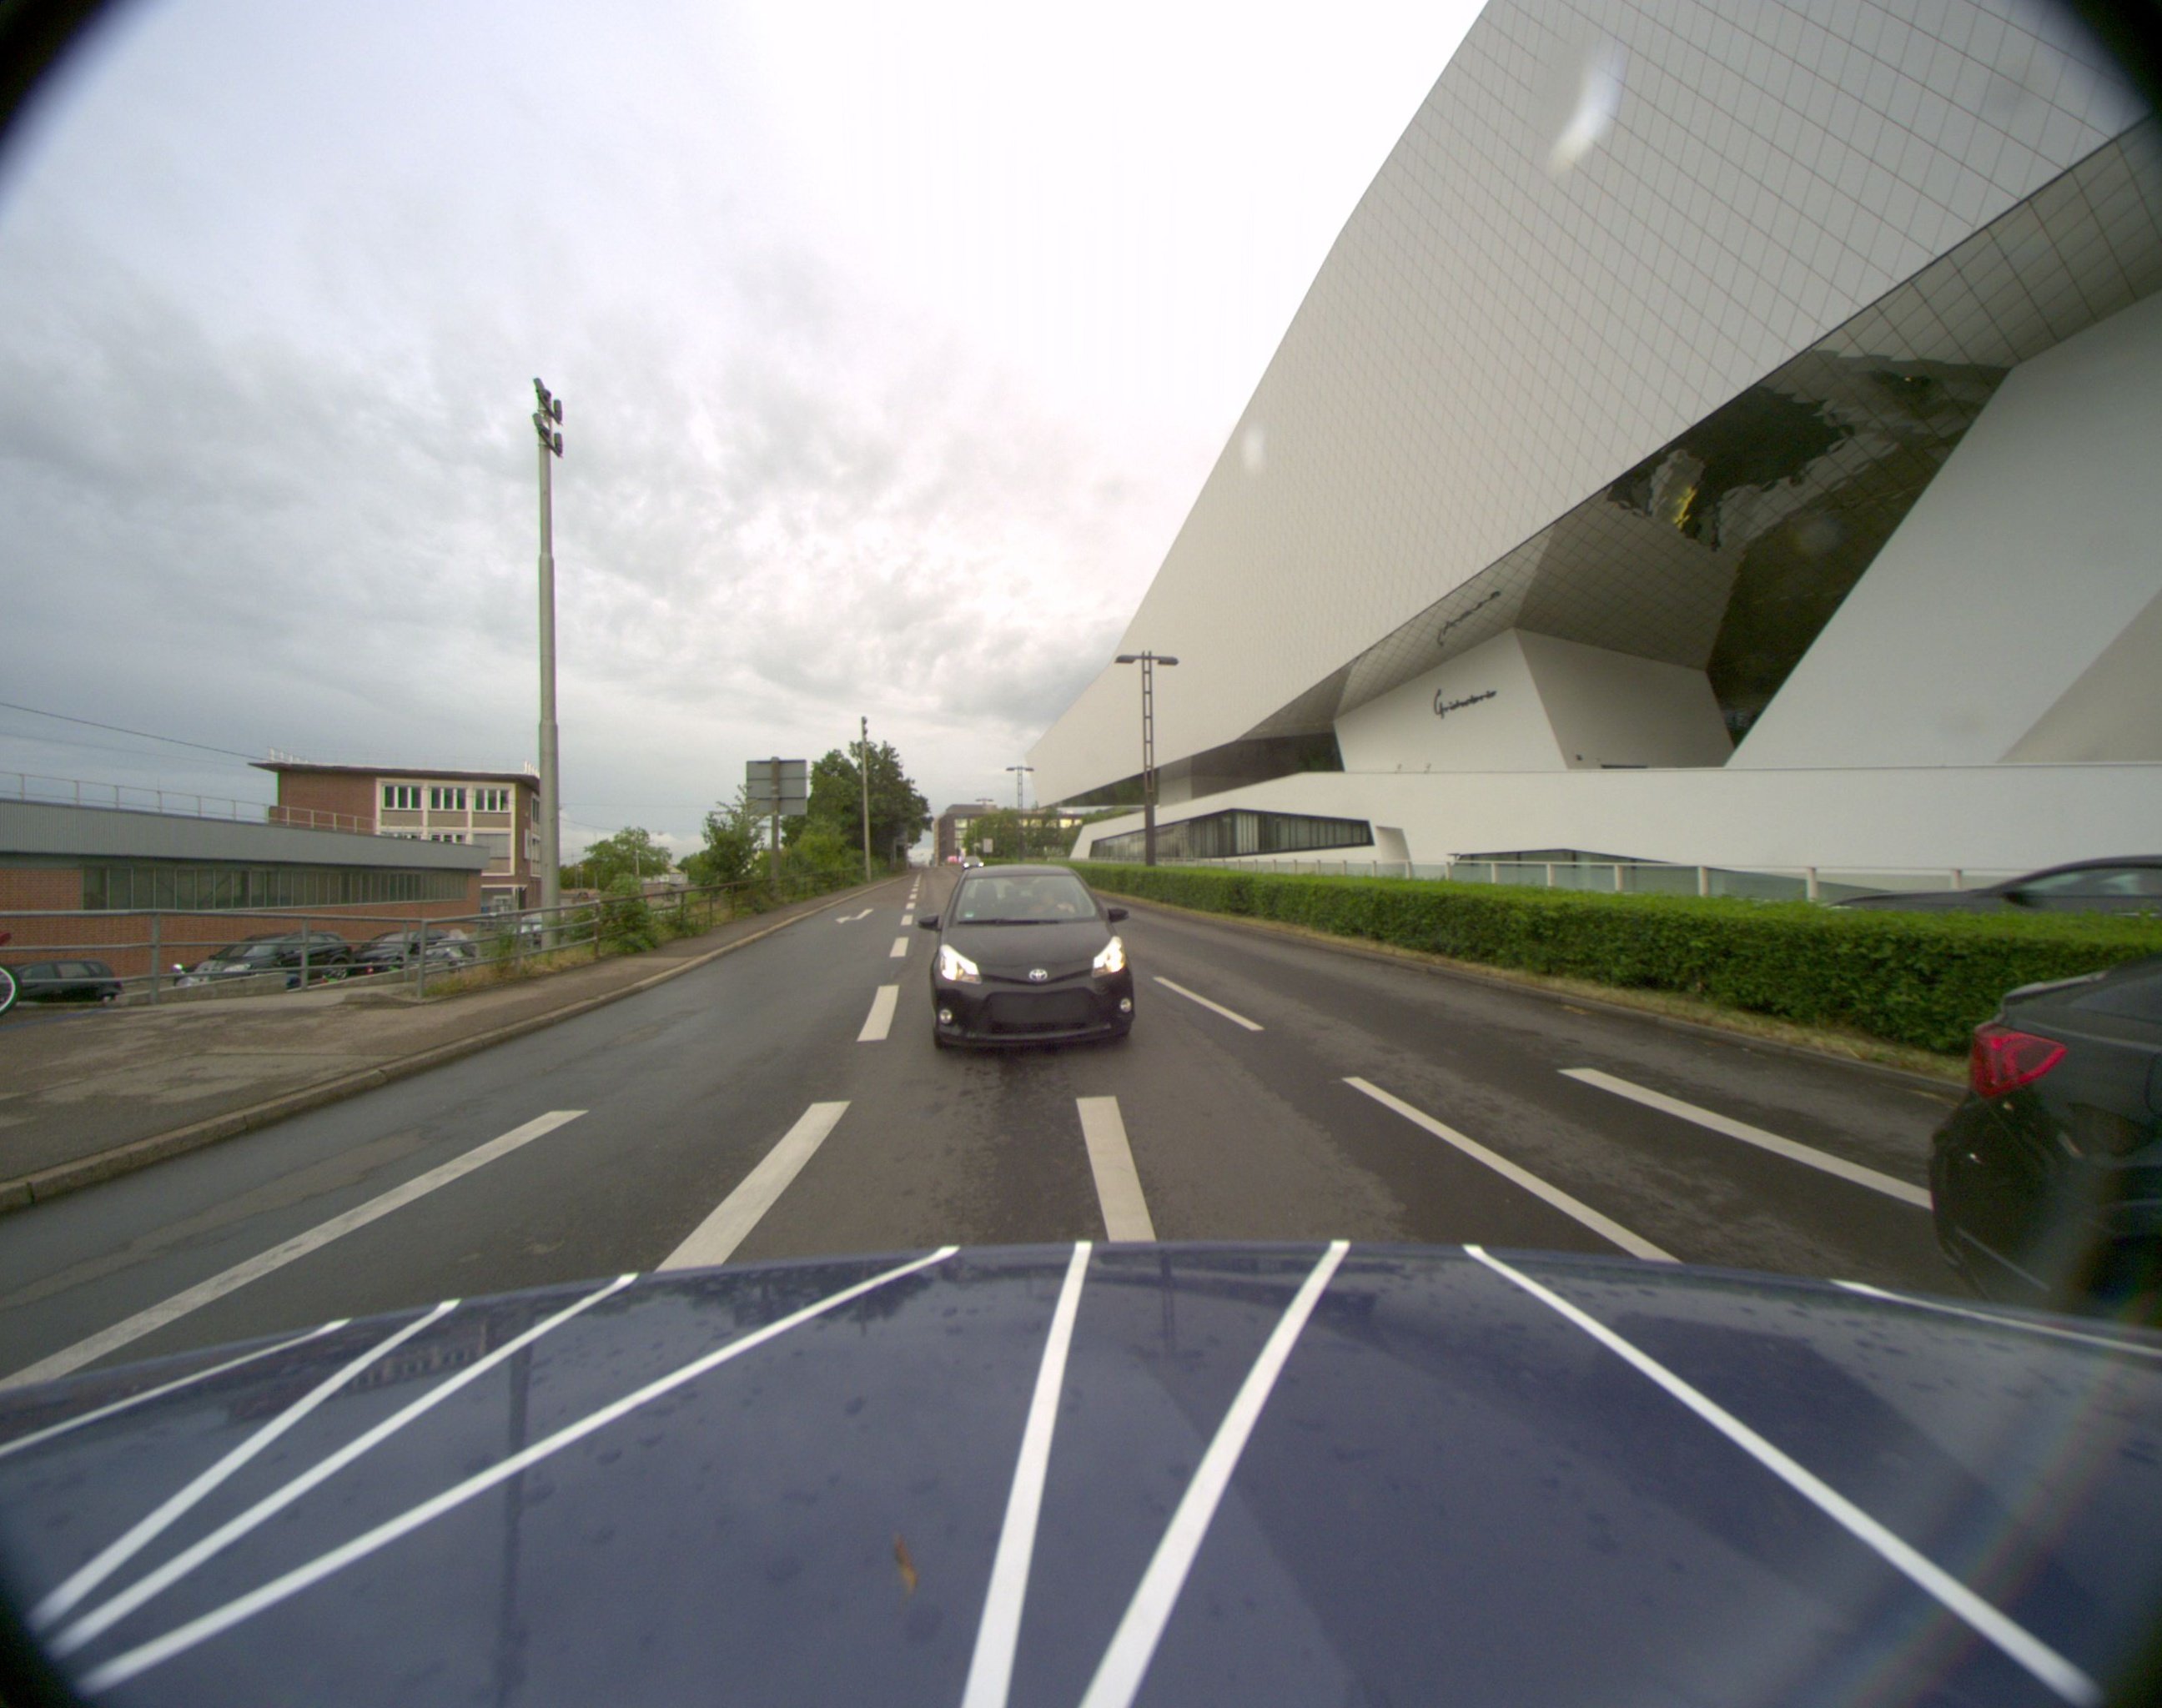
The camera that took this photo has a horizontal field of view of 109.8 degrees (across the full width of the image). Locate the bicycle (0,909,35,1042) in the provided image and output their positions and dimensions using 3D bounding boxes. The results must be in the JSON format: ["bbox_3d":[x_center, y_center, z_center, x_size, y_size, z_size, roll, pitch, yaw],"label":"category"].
[{"bbox_3d":[-10.412,1.094,6.570,1.547,1.148,0.450,0,2,-27],"label":"bicycle"}]

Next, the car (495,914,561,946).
[{"bbox_3d":[-30.084,4.123,41.453,1.735,1.380,3.995,-2,-1,-18],"label":"car"}]

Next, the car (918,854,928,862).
[{"bbox_3d":[-31.868,0.846,153.220,1.750,1.466,4.064,-2,1,-13],"label":"car"}]

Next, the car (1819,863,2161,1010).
[{"bbox_3d":[10.839,0.799,8.061,1.726,1.329,3.994,-1,0,-17],"label":"car"}]

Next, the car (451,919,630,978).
[{"bbox_3d":[-15.519,2.689,21.928,3.995,1.417,1.722,-2,-1,5],"label":"car"}]

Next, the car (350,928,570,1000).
[{"bbox_3d":[-14.887,2.616,18.340,3.995,1.417,1.722,-2,-1,5],"label":"car"}]

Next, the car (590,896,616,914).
[{"bbox_3d":[-42.041,4.436,66.892,1.723,1.417,3.991,-1,-1,-30],"label":"car"}]

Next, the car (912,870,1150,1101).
[{"bbox_3d":[-0.628,0.993,7.561,1.695,1.498,4.008,-2,1,-8],"label":"car"}]

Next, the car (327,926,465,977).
[{"bbox_3d":[-25.692,3.606,28.739,1.720,1.396,4.273,-2,-1,-7],"label":"car"}]

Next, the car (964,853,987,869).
[{"bbox_3d":[-10.033,0.685,72.155,1.819,1.430,4.297,-2,0,-12],"label":"car"}]

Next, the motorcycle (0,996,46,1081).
[{"bbox_3d":[-13.313,2.222,8.746,1.618,0.916,0.420,-3,1,-24],"label":"motorcycle"}]

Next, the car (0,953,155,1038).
[{"bbox_3d":[-23.260,3.119,16.531,1.721,1.417,3.997,-2,-1,-10],"label":"car"}]

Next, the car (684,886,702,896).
[{"bbox_3d":[-55.170,5.238,107.963,1.724,1.417,3.991,-1,-1,-34],"label":"car"}]

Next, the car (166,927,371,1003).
[{"bbox_3d":[-24.452,3.269,23.170,1.784,1.657,4.503,-2,-1,-7],"label":"car"}]
